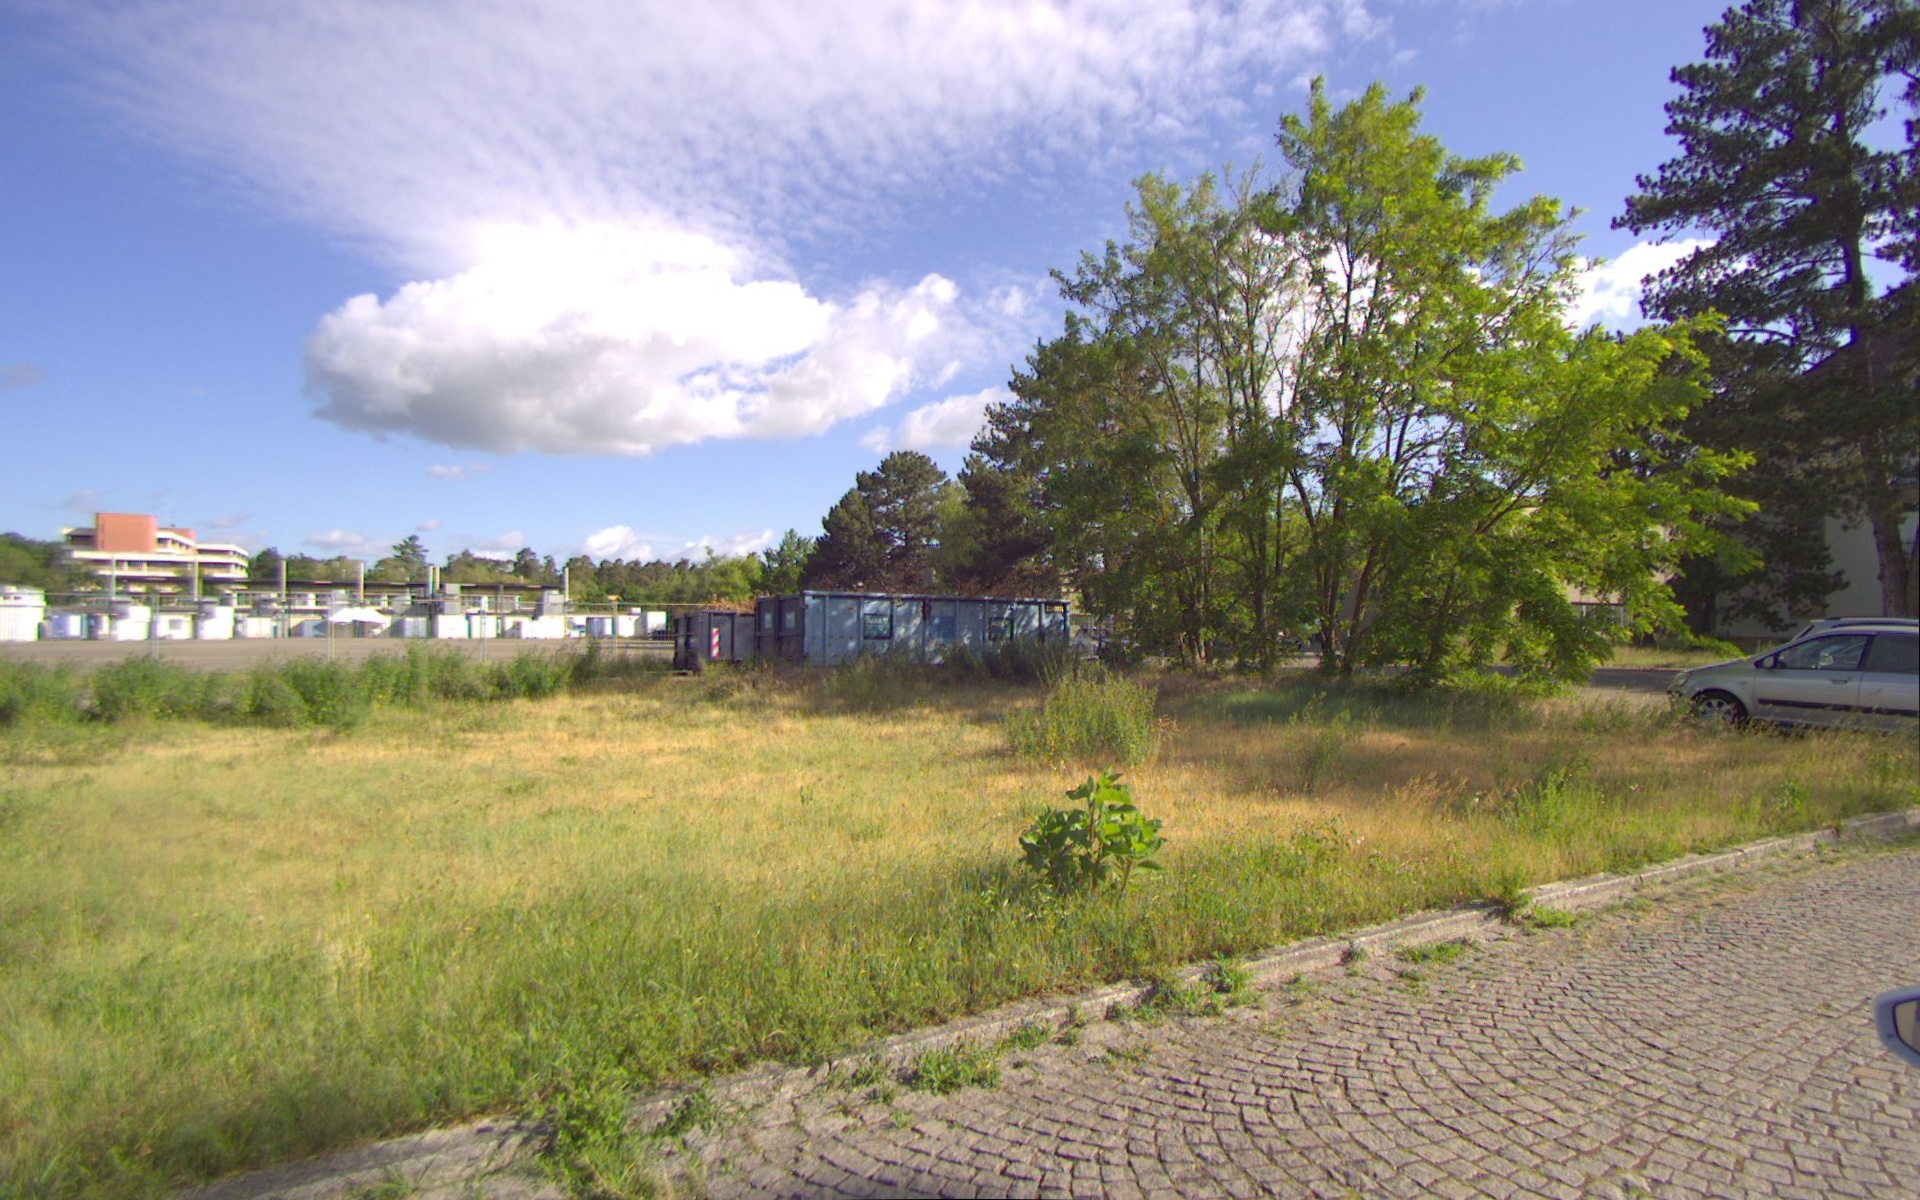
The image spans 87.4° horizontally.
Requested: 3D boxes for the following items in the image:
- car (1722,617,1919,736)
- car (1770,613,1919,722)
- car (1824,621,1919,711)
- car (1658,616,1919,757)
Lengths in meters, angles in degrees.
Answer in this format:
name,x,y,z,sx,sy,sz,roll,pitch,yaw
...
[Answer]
name,x,y,z,sx,sy,sz,roll,pitch,yaw
car,13.323,1.053,13.981,1.783,1.500,3.964,0,1,-32
car,15.633,1.082,15.848,1.865,1.614,4.057,0,1,-32
car,17.663,1.178,16.972,1.810,1.488,4.309,1,1,-32
car,11.168,1.020,12.509,1.628,1.507,3.725,0,1,-32
